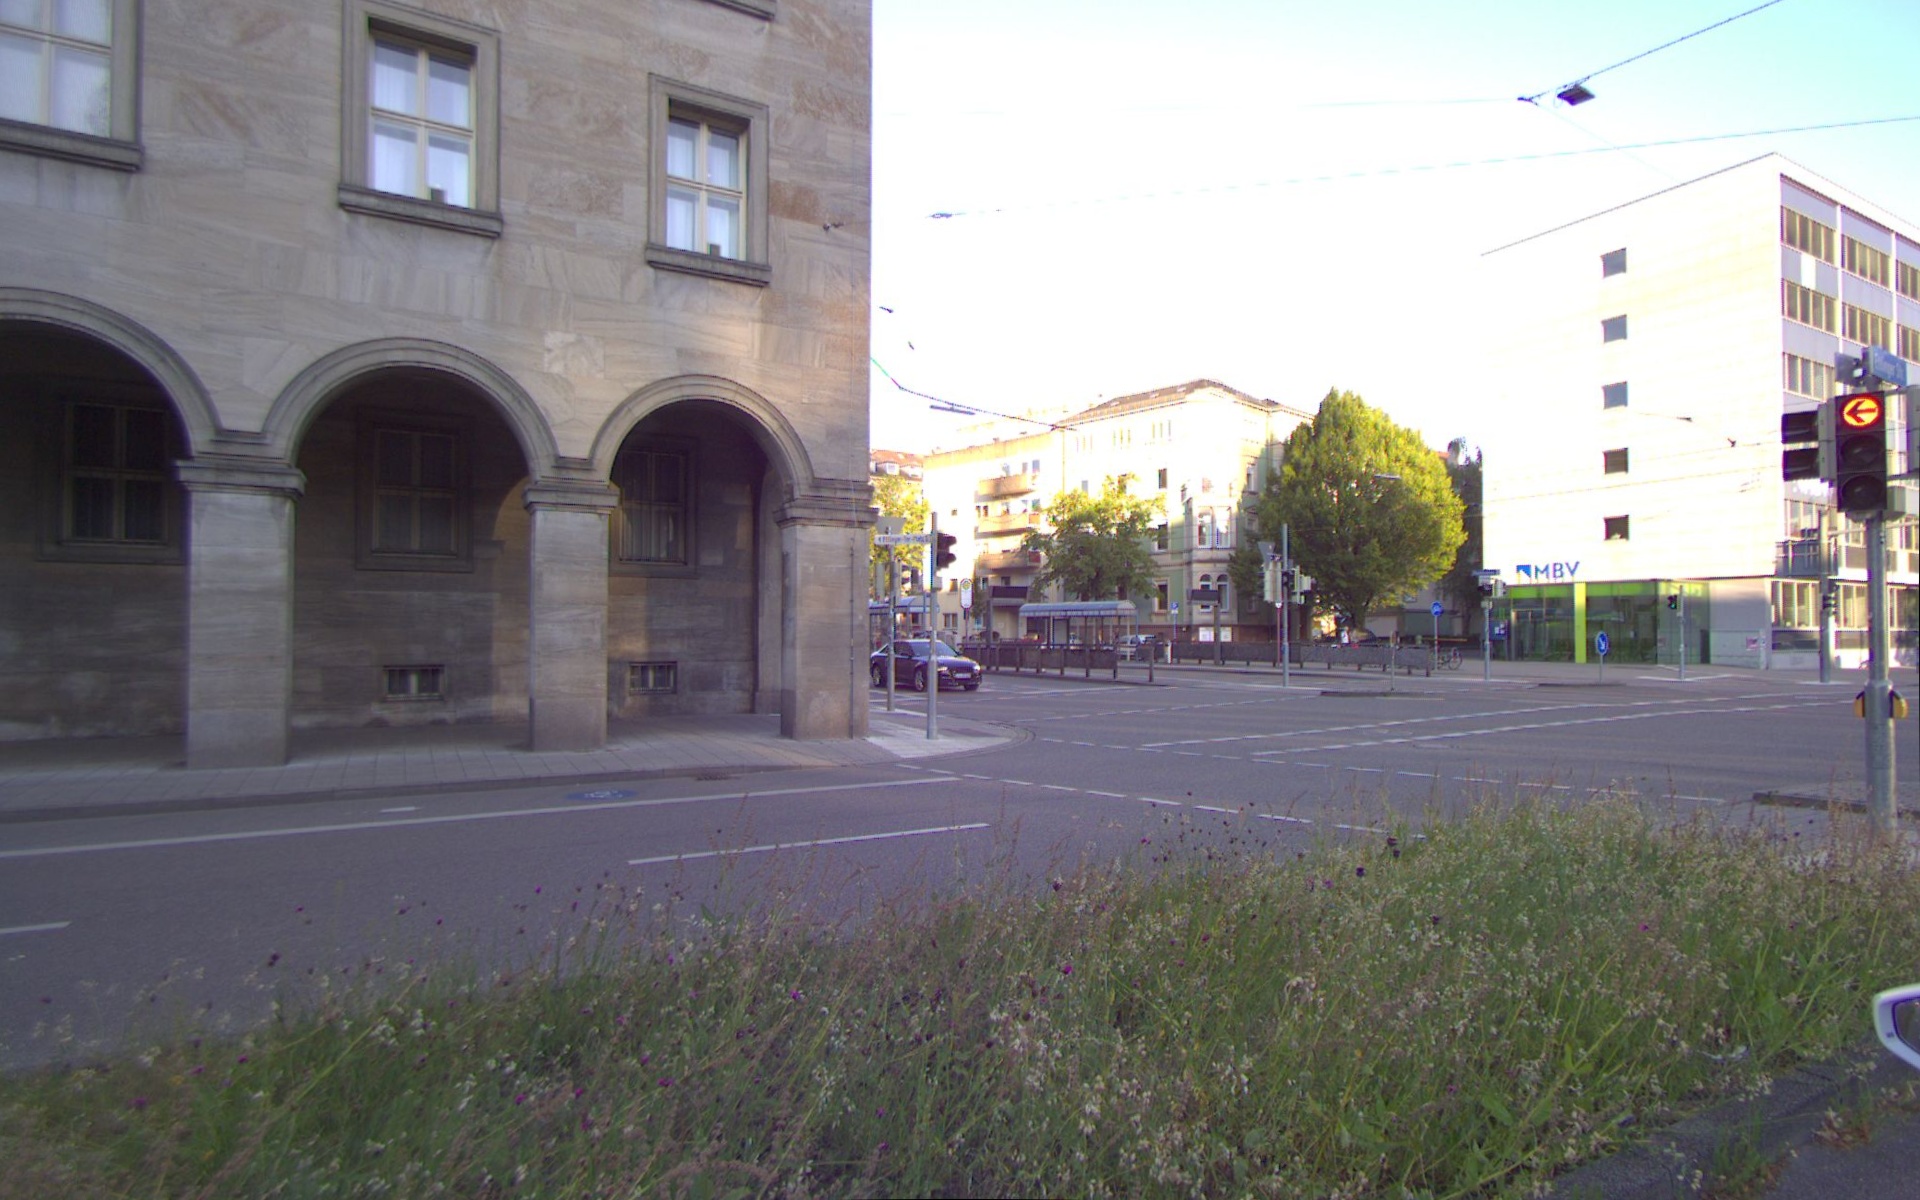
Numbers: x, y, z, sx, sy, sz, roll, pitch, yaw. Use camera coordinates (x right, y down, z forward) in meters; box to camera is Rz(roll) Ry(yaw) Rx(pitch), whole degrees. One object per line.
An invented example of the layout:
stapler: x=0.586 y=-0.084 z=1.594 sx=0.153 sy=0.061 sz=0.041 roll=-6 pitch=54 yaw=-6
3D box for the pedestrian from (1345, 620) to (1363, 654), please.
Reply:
pedestrian: x=20.881 y=1.961 z=53.239 sx=0.718 sy=1.813 sz=0.634 roll=2 pitch=-2 yaw=-43

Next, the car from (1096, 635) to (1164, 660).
car: x=10.012 y=2.766 z=59.224 sx=3.545 sy=1.390 sz=1.830 roll=-2 pitch=-3 yaw=45

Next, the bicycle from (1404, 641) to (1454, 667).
bicycle: x=20.860 y=2.409 z=44.672 sx=2.183 sy=1.127 sz=0.834 roll=1 pitch=-2 yaw=-26

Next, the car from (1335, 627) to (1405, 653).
car: x=22.464 y=2.185 z=55.077 sx=3.553 sy=1.390 sz=1.826 roll=1 pitch=-2 yaw=-32

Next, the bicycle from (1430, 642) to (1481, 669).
bicycle: x=21.571 y=2.410 z=43.685 sx=2.183 sy=1.127 sz=0.834 roll=1 pitch=-2 yaw=-26

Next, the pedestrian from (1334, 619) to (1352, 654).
pedestrian: x=20.168 y=1.941 z=52.898 sx=0.718 sy=1.813 sz=0.634 roll=2 pitch=-2 yaw=-44

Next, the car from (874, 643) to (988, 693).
car: x=-0.927 y=1.962 z=29.737 sx=1.791 sy=1.344 sz=4.120 roll=1 pitch=-2 yaw=-27
